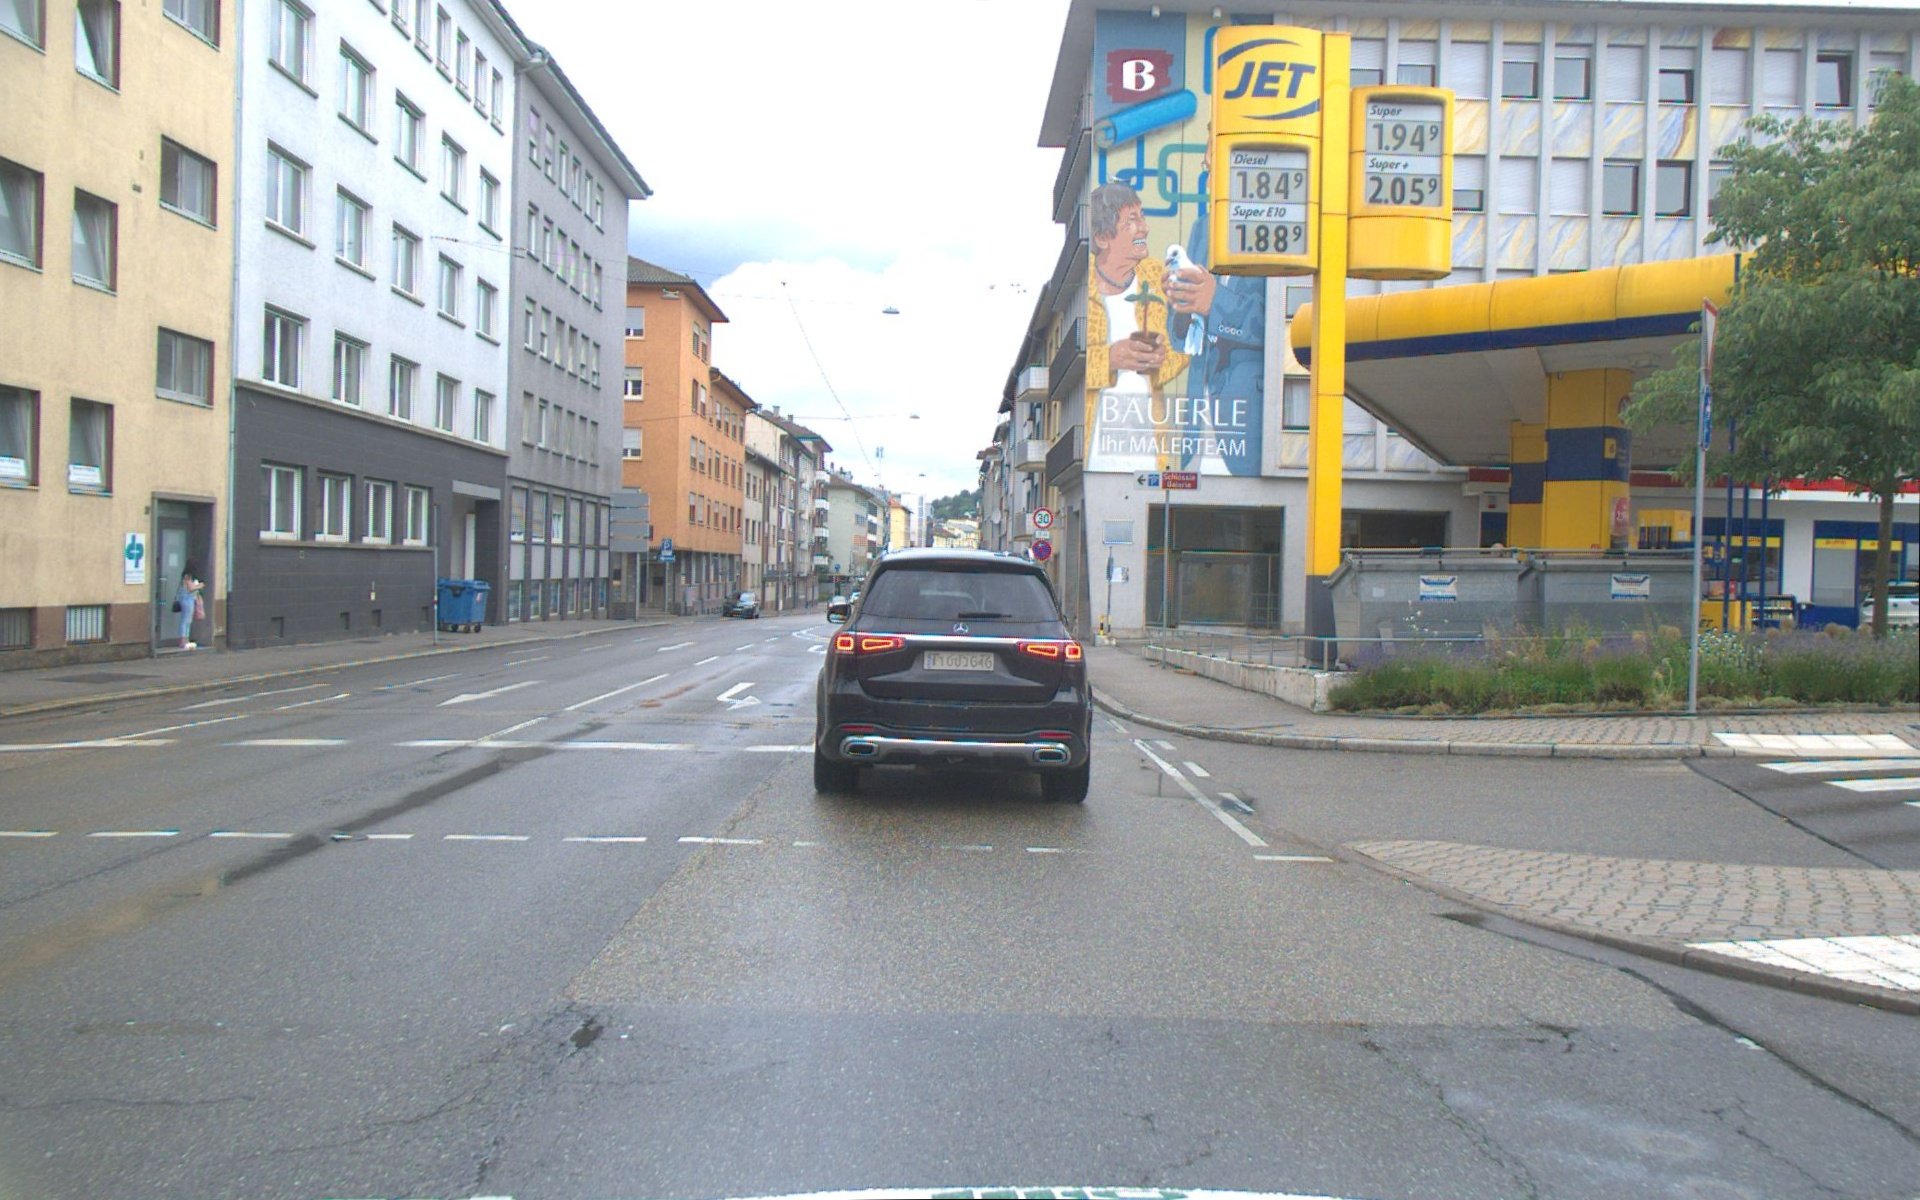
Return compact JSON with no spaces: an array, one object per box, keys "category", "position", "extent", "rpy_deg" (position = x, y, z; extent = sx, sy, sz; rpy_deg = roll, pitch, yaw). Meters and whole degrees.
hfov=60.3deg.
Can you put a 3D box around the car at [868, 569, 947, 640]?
[{"category":"car","position":[-1.454,0.099,46.722],"extent":[2.034,1.796,4.610],"rpy_deg":[3,1,-1]}]

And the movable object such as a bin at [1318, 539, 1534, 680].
[{"category":"movable object such as a bin","position":[5.604,0.106,20.100],"extent":[2.111,1.602,1.773],"rpy_deg":[1,0,0]}]

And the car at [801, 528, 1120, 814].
[{"category":"car","position":[-0.030,0.448,13.313],"extent":[2.034,1.796,4.610],"rpy_deg":[3,1,-1]}]

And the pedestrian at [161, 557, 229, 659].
[{"category":"pedestrian","position":[-13.280,0.132,28.722],"extent":[0.702,1.719,0.811],"rpy_deg":[3,0,1]}]

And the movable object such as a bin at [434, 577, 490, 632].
[{"category":"movable object such as a bin","position":[-12.997,0.107,43.206],"extent":[1.054,1.347,1.190],"rpy_deg":[3,0,-1]}]

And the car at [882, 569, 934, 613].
[{"category":"car","position":[-2.160,-0.389,69.579],"extent":[2.034,1.678,4.294],"rpy_deg":[3,1,-1]}]

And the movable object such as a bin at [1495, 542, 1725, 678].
[{"category":"movable object such as a bin","position":[7.849,0.109,20.141],"extent":[2.111,1.582,1.773],"rpy_deg":[0,0,0]}]

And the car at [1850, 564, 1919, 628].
[{"category":"car","position":[24.639,-0.065,43.135],"extent":[1.960,1.542,4.401],"rpy_deg":[0,-2,36]}]

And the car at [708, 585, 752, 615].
[{"category":"car","position":[-12.362,0.002,89.294],"extent":[1.853,1.484,4.547],"rpy_deg":[3,0,-3]}]

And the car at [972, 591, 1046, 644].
[{"category":"car","position":[1.464,0.510,50.992],"extent":[1.856,1.427,4.606],"rpy_deg":[-3,1,-3]}]
